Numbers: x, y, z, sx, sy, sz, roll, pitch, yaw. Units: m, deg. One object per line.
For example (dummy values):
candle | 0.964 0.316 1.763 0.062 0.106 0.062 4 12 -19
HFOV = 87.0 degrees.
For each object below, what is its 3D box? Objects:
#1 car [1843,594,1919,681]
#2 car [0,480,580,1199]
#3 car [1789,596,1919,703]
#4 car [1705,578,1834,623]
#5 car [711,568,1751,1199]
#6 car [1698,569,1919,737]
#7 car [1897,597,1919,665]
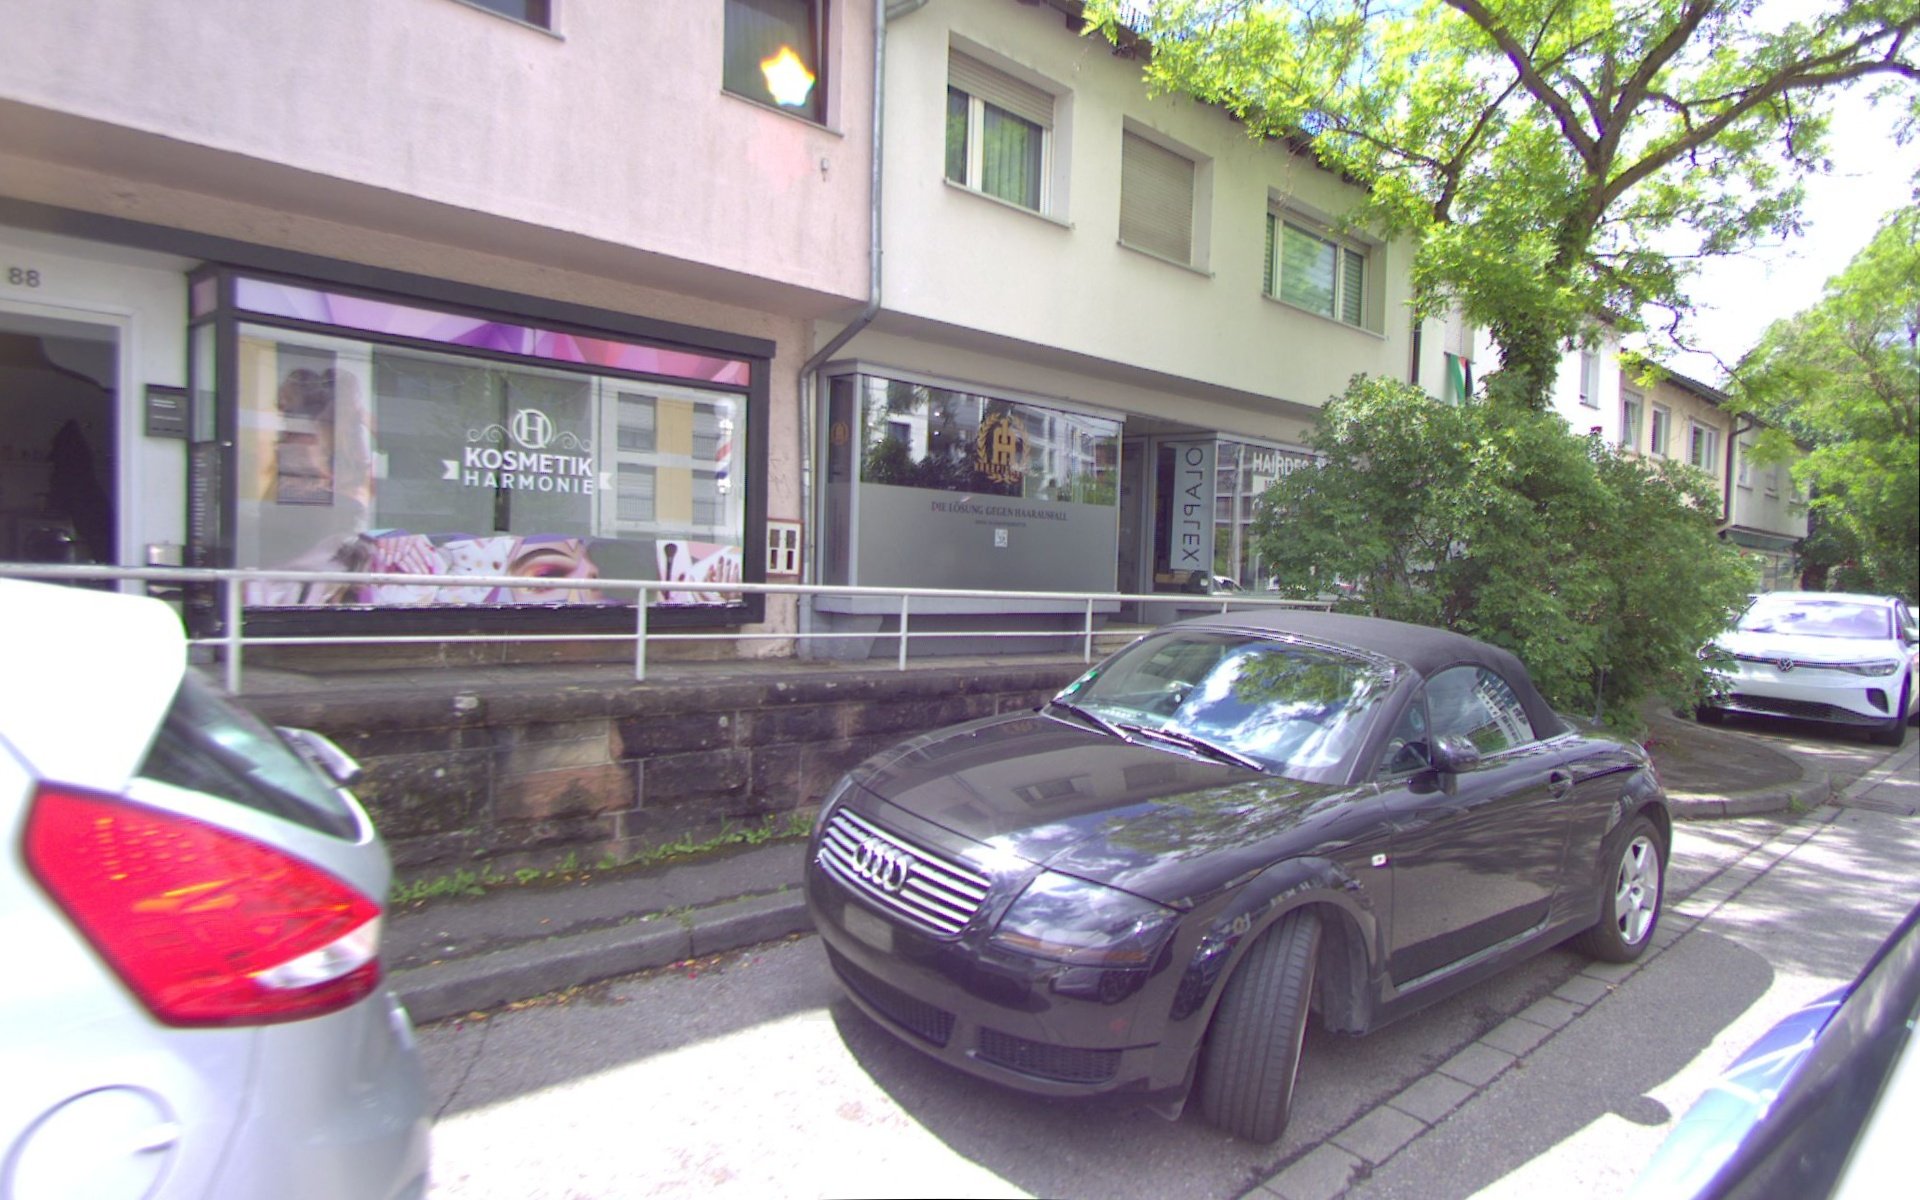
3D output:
car | 18.986 0.688 19.753 4.822 1.517 1.818 0 2 -39
car | -2.490 0.561 0.620 3.833 1.459 1.775 0 5 -43
car | 14.619 0.688 15.872 4.367 1.444 1.728 0 2 -41
car | 33.075 -0.014 41.497 3.913 1.537 1.780 5 3 35
car | 1.268 0.649 3.900 3.926 1.365 1.778 0 4 -37
car | 10.628 0.508 12.241 4.353 1.664 1.841 0 2 -42
car | 23.051 0.718 23.130 3.968 1.481 1.818 0 2 -39
